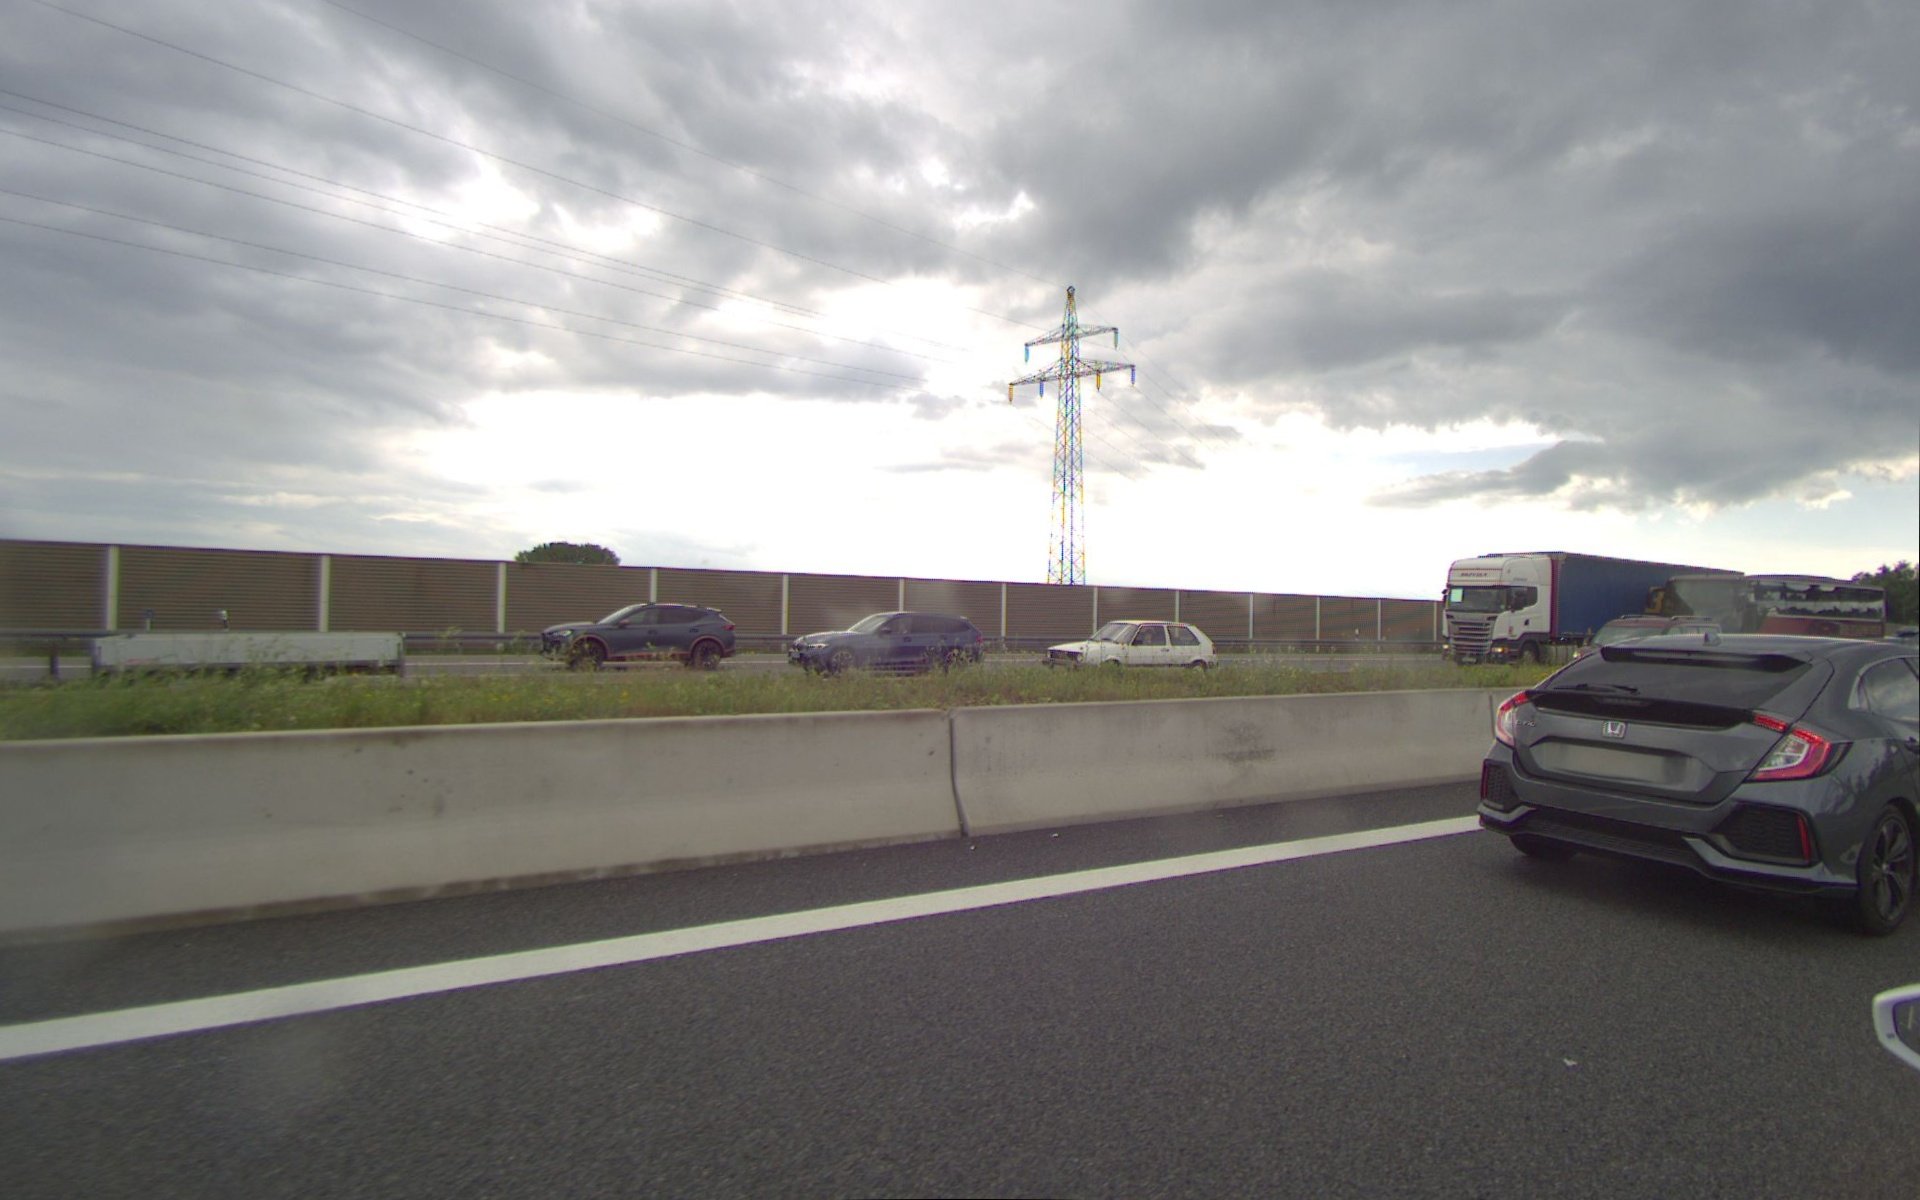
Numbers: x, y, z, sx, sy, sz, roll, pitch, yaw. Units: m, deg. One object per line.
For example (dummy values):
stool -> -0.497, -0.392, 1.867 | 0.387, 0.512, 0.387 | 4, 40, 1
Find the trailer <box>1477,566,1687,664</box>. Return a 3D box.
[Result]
trailer -> 29.433, 0.770, 47.177 | 12.552, 4.171, 2.885 | 1, 0, -31

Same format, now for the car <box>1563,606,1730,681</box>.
car -> 17.121, 1.054, 25.010 | 4.246, 1.688, 1.778 | 1, 0, -31

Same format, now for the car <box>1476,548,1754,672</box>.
car -> 25.599, 0.463, 38.738 | 14.229, 4.179, 2.967 | 1, 0, -31

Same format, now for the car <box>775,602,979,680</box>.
car -> -1.866, 0.909, 23.119 | 4.334, 1.612, 1.778 | 1, 0, -31

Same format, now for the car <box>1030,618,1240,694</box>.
car -> 3.936, 1.203, 22.369 | 4.512, 1.474, 1.778 | 1, 0, -31

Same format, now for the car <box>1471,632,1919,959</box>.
car -> 5.632, 0.930, 6.464 | 5.000, 1.387, 1.752 | 1, 0, -30

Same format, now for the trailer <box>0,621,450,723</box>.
trailer -> -9.577, 0.891, 13.529 | 4.706, 1.084, 2.081 | 1, 0, -31

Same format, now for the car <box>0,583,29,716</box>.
car -> -13.516, 0.540, 11.039 | 4.513, 1.583, 1.778 | 1, 0, -32

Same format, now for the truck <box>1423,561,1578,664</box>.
truck -> 23.493, 0.561, 43.608 | 6.546, 4.171, 2.886 | 1, 0, -31

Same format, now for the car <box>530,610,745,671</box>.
car -> -7.480, 0.926, 23.419 | 4.512, 1.260, 1.778 | 1, 0, -31

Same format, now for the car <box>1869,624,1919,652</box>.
car -> 59.371, 2.401, 63.483 | 3.910, 1.619, 1.778 | 1, 0, -31

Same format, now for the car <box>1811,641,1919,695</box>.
car -> 29.320, 2.131, 32.165 | 4.512, 1.554, 1.778 | 1, 0, -31

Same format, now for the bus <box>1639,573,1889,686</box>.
bus -> 29.818, 1.067, 36.949 | 12.611, 3.659, 2.875 | 1, 0, -31

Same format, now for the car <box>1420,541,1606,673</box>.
car -> 19.265, 0.271, 34.959 | 5.972, 4.205, 2.968 | 1, 0, -31
